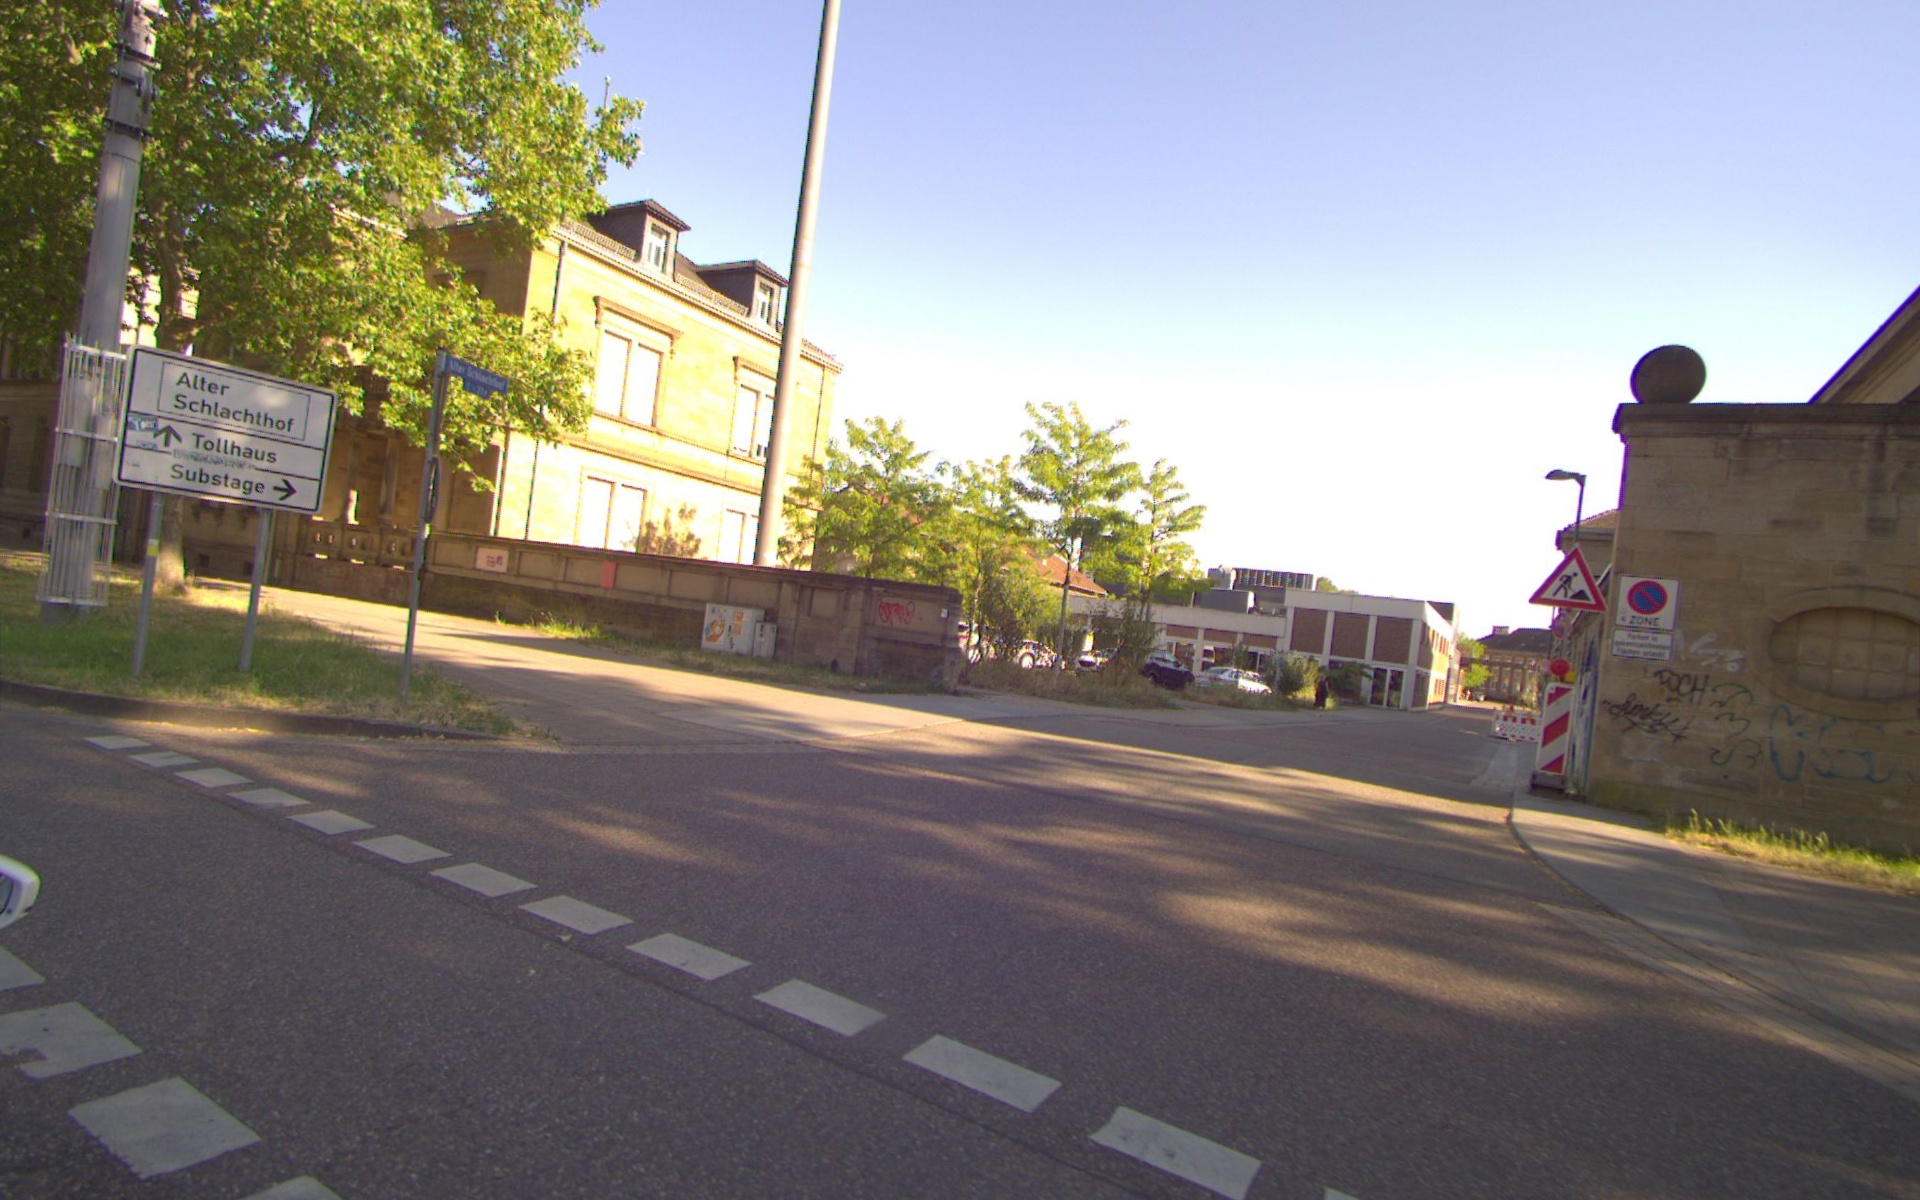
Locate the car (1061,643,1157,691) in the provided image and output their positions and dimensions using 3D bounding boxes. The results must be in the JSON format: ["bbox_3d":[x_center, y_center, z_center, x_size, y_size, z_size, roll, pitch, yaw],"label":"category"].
[{"bbox_3d":[6.171,2.783,41.487,3.978,1.527,1.778,9,-3,-44],"label":"car"}]

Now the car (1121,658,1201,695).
[{"bbox_3d":[10.661,4.062,53.362,3.962,1.527,1.785,8,-3,-34],"label":"car"}]

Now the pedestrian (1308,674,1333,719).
[{"bbox_3d":[14.052,3.769,39.219,0.778,1.646,1.079,4,-7,19],"label":"pedestrian"}]

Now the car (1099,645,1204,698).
[{"bbox_3d":[7.103,2.645,37.098,3.978,1.527,1.778,9,-3,-44],"label":"car"}]

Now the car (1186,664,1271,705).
[{"bbox_3d":[13.223,4.172,49.474,3.962,1.527,1.785,8,-3,-34],"label":"car"}]

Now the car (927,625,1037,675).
[{"bbox_3d":[0.906,2.003,40.140,4.095,1.527,1.782,9,-3,-38],"label":"car"}]
